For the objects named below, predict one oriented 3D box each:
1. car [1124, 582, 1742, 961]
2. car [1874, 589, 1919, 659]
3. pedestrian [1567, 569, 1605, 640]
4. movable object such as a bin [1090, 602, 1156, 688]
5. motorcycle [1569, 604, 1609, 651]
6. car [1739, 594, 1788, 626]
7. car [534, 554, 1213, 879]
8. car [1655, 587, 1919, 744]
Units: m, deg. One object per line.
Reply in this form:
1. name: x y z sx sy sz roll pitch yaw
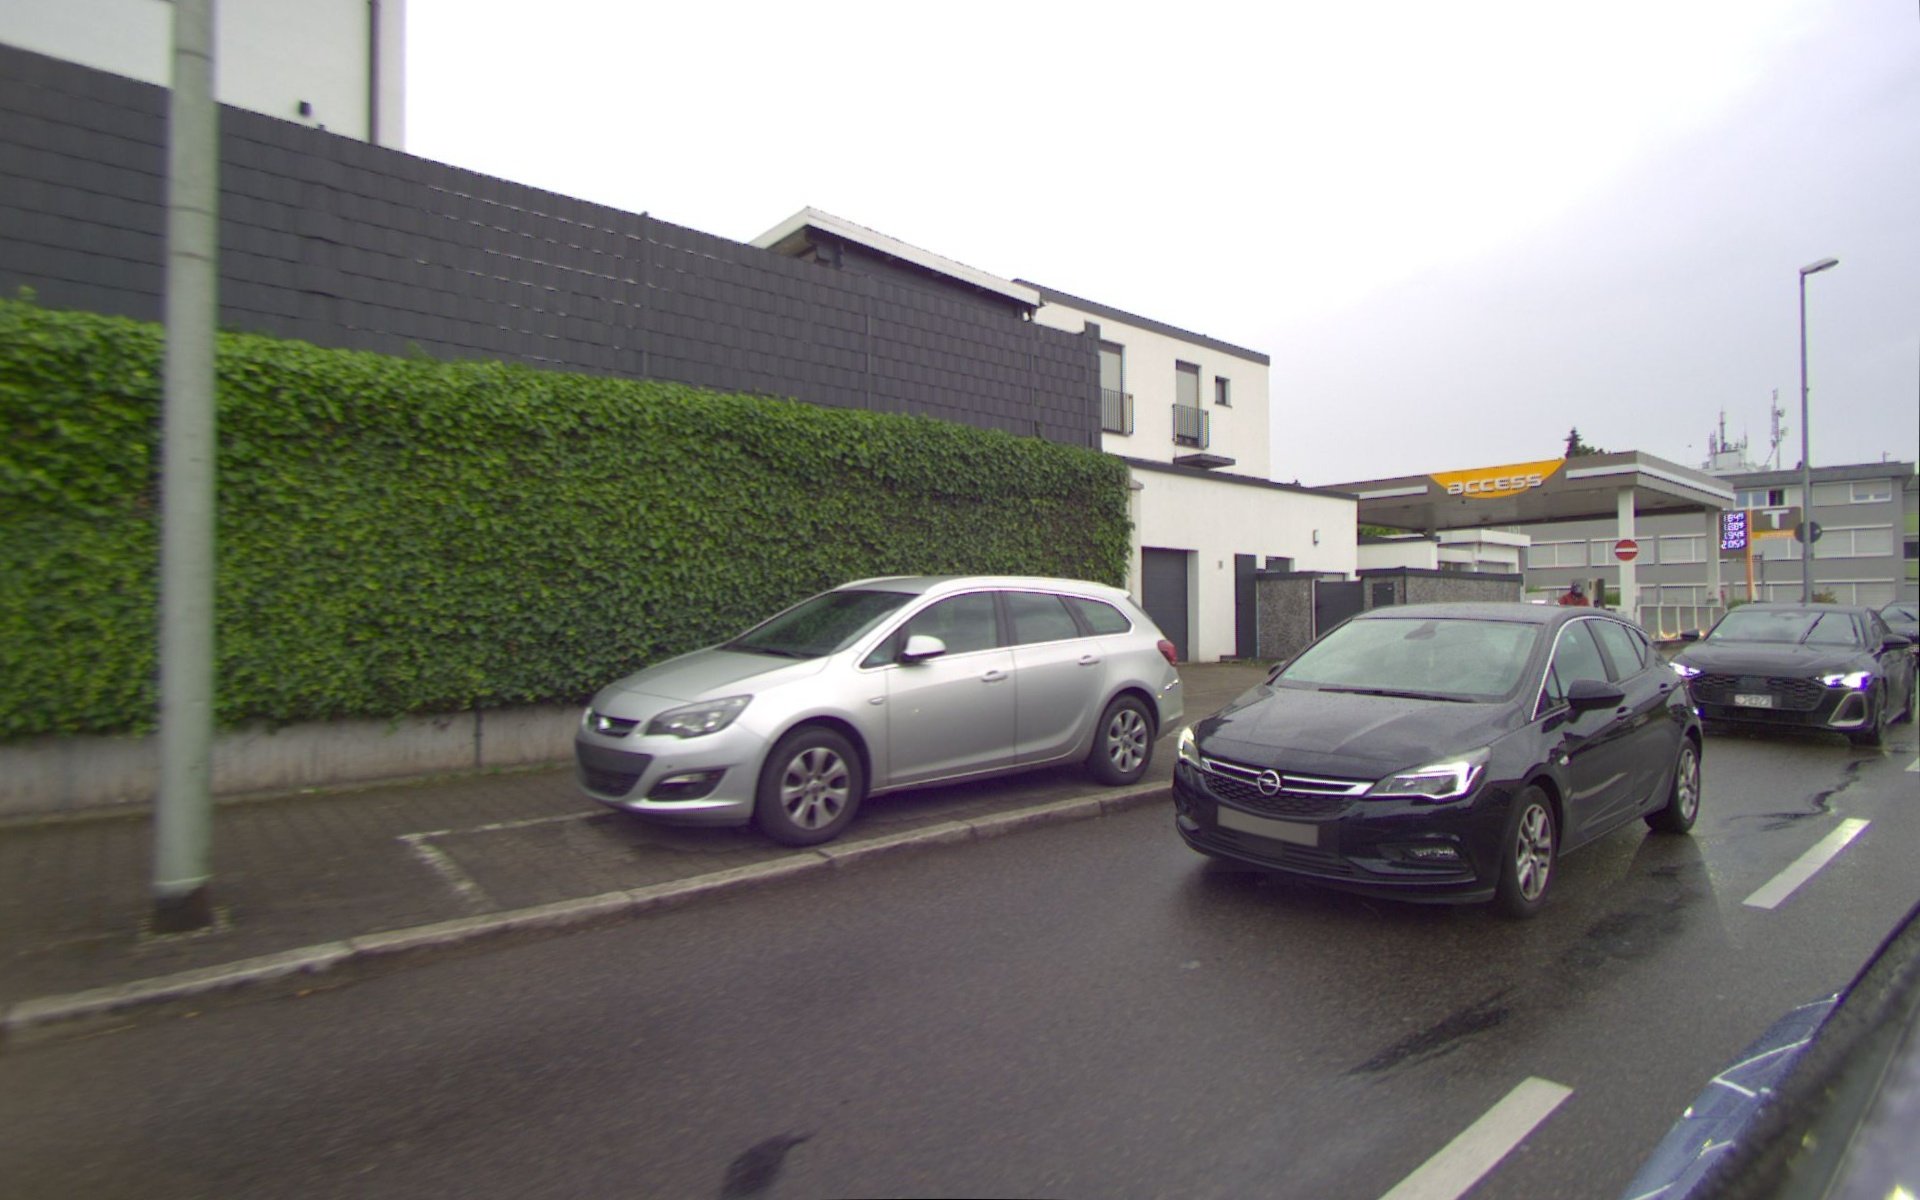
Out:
1. car: 2.935 0.658 5.906 3.929 1.468 1.759 -1 0 -40
2. car: 22.873 0.511 23.537 3.930 1.538 1.871 -1 0 -40
3. pedestrian: 15.066 0.100 24.364 0.604 1.677 0.582 -1 -1 18
4. movable object such as a bin: 2.225 0.598 13.843 0.655 1.118 0.596 0 2 -41
5. motorcycle: 15.031 0.648 24.200 0.457 1.069 1.382 -1 0 17
6. car: 43.216 0.490 54.389 1.809 1.546 3.940 3 3 41
7. car: -0.315 0.528 6.885 4.456 1.529 1.703 -1 0 -41
8. car: 9.846 0.602 11.692 4.657 1.442 1.869 -1 0 -41
